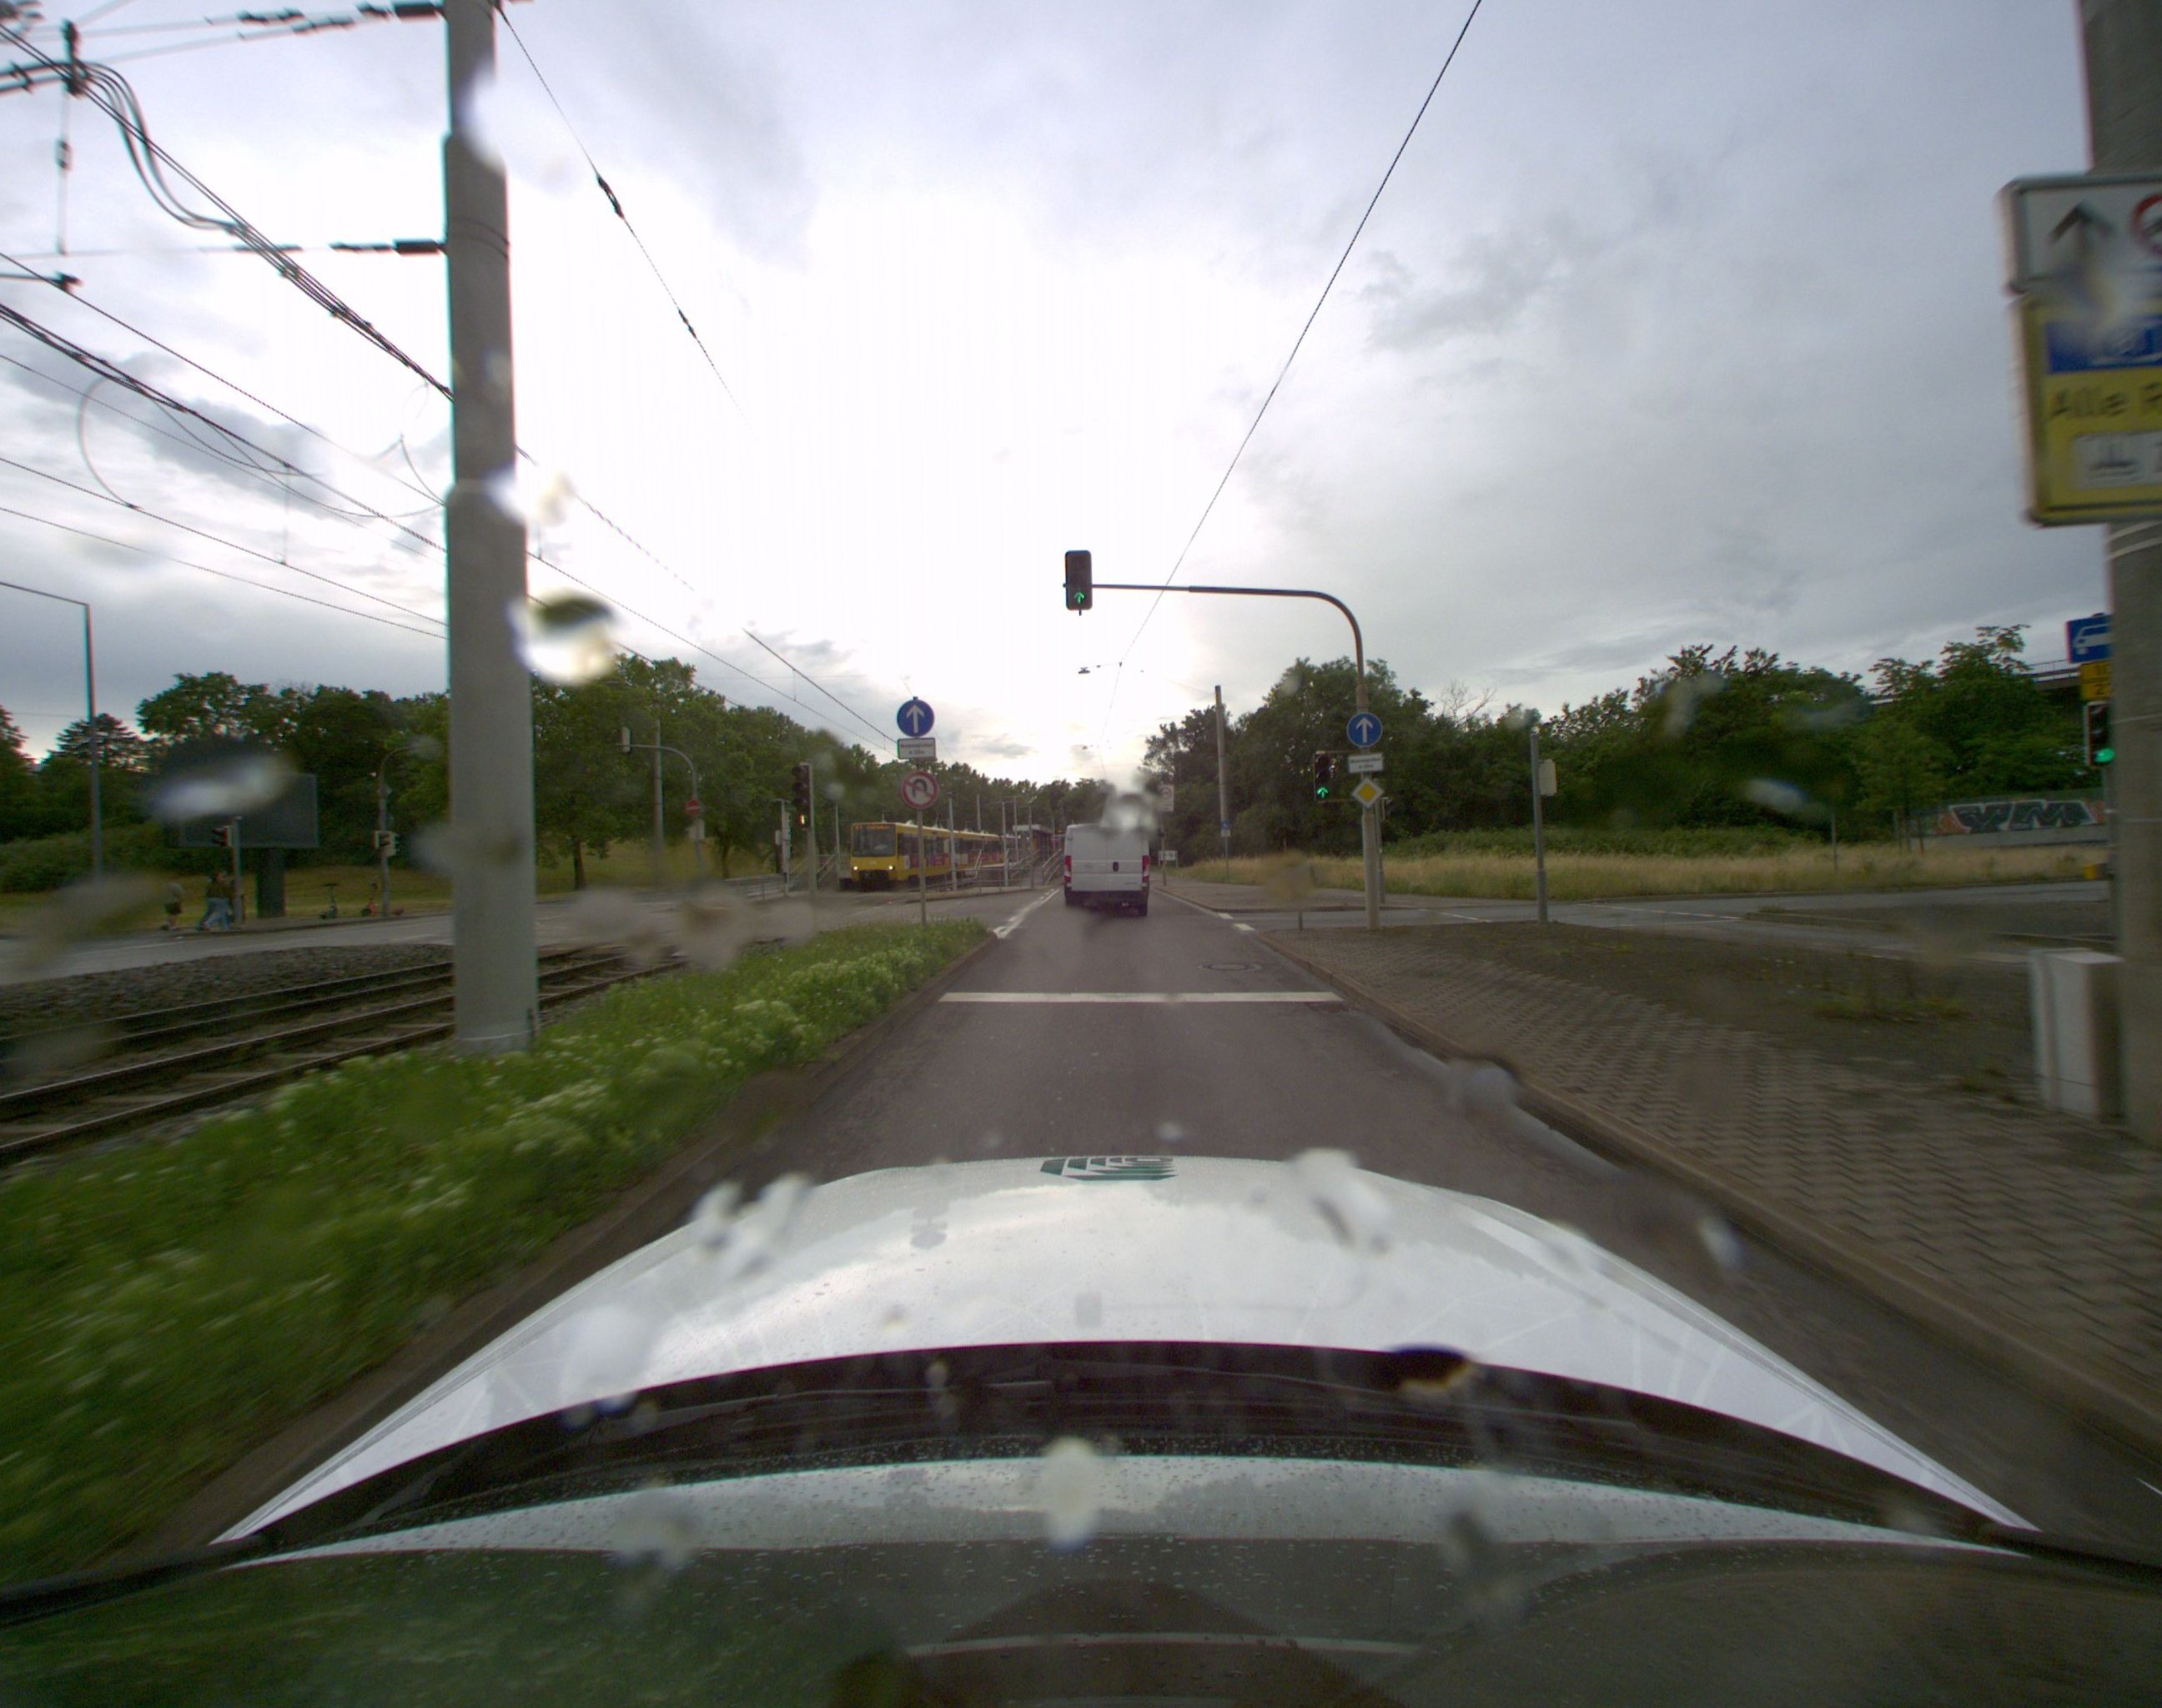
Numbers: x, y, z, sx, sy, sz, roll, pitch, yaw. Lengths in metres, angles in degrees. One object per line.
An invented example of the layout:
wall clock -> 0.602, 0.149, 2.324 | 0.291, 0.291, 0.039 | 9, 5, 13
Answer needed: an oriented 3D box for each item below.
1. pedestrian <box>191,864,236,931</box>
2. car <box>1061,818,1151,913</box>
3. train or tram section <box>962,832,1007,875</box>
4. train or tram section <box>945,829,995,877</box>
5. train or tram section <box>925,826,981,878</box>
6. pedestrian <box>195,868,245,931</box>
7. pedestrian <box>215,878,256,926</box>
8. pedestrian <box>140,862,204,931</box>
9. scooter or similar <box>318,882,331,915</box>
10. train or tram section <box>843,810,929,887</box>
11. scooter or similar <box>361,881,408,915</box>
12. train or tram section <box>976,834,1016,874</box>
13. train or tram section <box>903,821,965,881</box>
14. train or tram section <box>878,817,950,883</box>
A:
pedestrian -> -25.609, 1.262, 24.047 | 0.493, 1.955, 0.722 | 0, -1, 3
car -> 0.554, 0.259, 21.452 | 2.084, 2.196, 5.059 | 0, 0, -1
train or tram section -> -9.081, -0.037, 77.303 | 2.916, 3.933, 7.012 | 0, 0, 4
train or tram section -> -9.538, -0.084, 70.662 | 2.916, 3.933, 7.012 | 0, 0, 4
train or tram section -> -10.009, -0.129, 64.443 | 2.916, 3.933, 7.012 | 0, 0, 4
pedestrian -> -25.186, 1.308, 23.828 | 0.504, 1.787, 0.833 | 0, -1, 4
pedestrian -> -26.792, 1.508, 25.806 | 0.494, 1.473, 0.722 | 0, -1, 1
pedestrian -> -27.366, 1.258, 24.530 | 0.886, 2.014, 0.864 | -2, -1, -6
scooter or similar -> -27.137, 1.594, 29.218 | 0.759, 1.161, 0.290 | -2, 0, 45
train or tram section -> -10.606, -0.261, 45.149 | 2.918, 3.933, 7.006 | 0, 0, 1
scooter or similar -> -26.045, 1.625, 30.461 | 0.375, 1.161, 1.287 | -2, 0, 44
train or tram section -> -8.655, 0.007, 83.505 | 2.916, 3.933, 7.012 | 0, 0, 4
train or tram section -> -10.325, -0.174, 57.907 | 2.918, 3.933, 7.006 | 0, 0, 1
train or tram section -> -10.457, -0.217, 51.661 | 2.918, 3.933, 7.006 | 0, 0, 1
